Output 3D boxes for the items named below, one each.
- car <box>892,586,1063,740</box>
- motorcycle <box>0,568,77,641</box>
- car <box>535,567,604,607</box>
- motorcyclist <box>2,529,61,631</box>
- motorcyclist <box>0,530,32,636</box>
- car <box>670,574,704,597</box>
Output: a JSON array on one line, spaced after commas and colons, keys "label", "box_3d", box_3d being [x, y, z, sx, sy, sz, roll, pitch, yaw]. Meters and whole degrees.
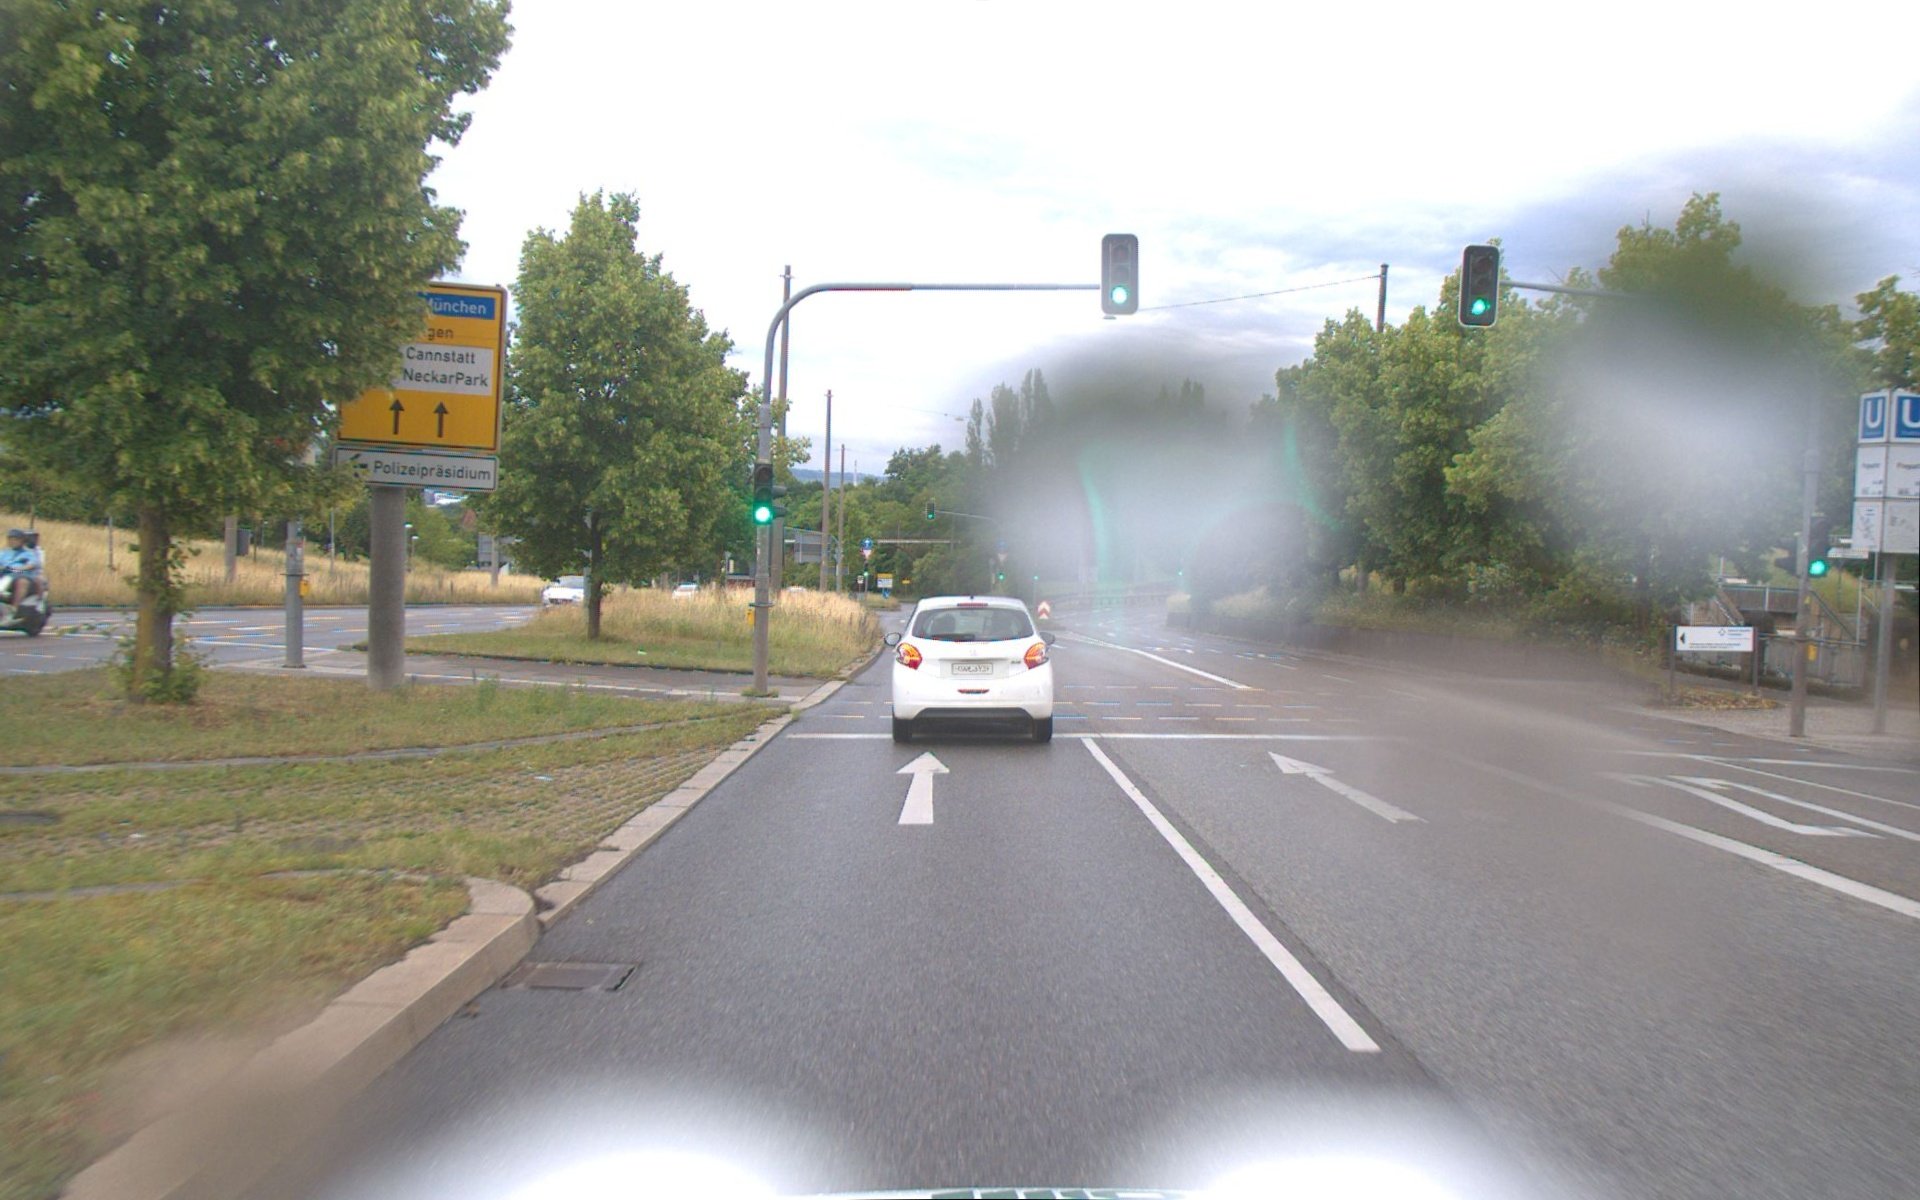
[{"label": "car", "box_3d": [0.155, 0.599, 18.044, 1.674, 1.465, 3.690, 0, 1, -1]}, {"label": "motorcycle", "box_3d": [-14.960, 0.051, 26.219, 0.604, 1.068, 2.502, 2, 2, -1]}, {"label": "car", "box_3d": [-14.833, -0.480, 62.967, 1.506, 1.413, 3.929, 2, 0, 2]}, {"label": "motorcyclist", "box_3d": [-14.944, -0.329, 26.631, 0.600, 1.609, 0.582, 2, 1, -1]}, {"label": "motorcyclist", "box_3d": [-14.977, -0.272, 25.834, 0.570, 1.623, 0.643, 2, 2, -1]}, {"label": "car", "box_3d": [-21.219, -1.089, 128.770, 1.847, 1.639, 4.675, 2, -1, -1]}]
